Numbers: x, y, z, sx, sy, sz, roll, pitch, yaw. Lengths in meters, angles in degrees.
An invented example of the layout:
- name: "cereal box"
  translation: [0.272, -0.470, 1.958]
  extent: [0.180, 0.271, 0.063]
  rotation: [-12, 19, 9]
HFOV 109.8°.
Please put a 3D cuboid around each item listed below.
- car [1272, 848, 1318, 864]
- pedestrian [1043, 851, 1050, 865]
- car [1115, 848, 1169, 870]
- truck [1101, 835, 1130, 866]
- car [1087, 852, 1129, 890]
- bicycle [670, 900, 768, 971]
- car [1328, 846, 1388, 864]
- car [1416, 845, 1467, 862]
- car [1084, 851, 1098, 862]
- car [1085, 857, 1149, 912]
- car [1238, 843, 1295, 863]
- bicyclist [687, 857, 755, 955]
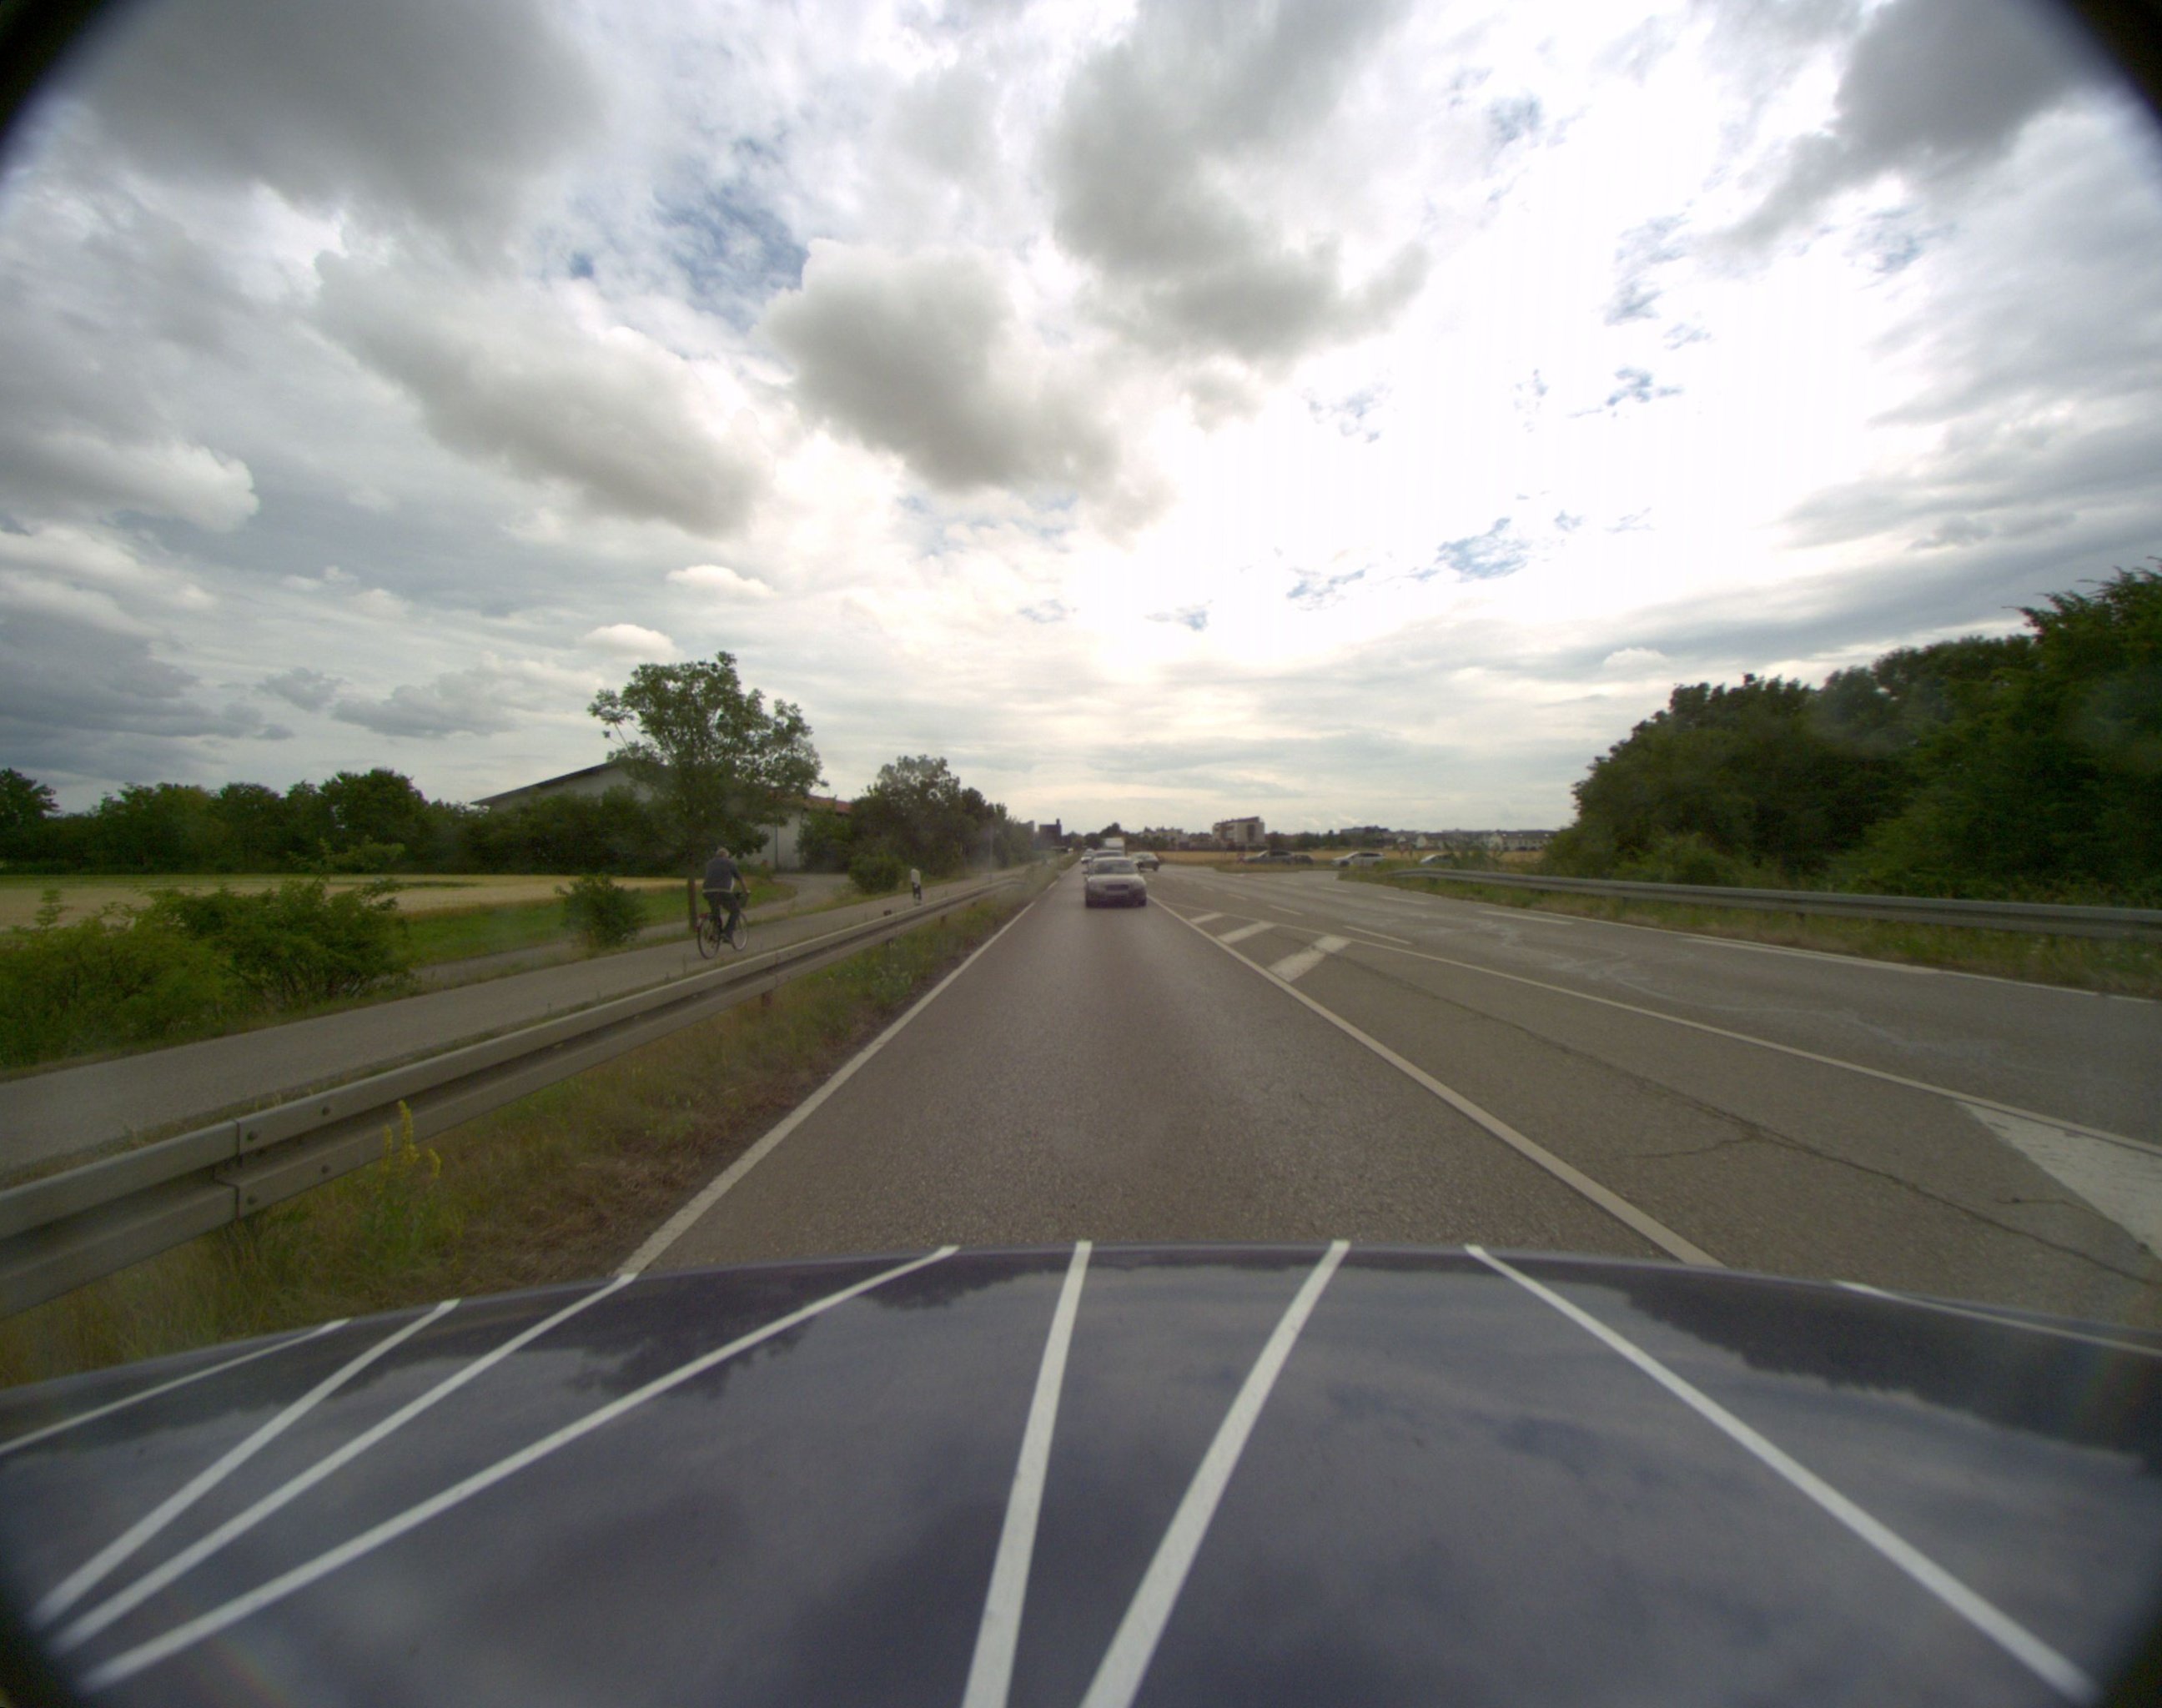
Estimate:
- name: "car"
  translation: [19.884, 0.166, 70.744]
  extent: [3.833, 1.481, 2.001]
  rotation: [-1, 1, 7]
- name: "pedestrian"
  translation: [-3.708, 0.437, 81.754]
  extent: [0.591, 1.512, 0.501]
  rotation: [-2, 1, 7]
- name: "car"
  translation: [4.984, 0.380, 61.408]
  extent: [1.994, 1.600, 5.142]
  rotation: [0, 1, 36]
- name: "truck"
  translation: [4.160, -0.409, 93.290]
  extent: [2.931, 3.541, 7.604]
  rotation: [-2, 1, -1]
- name: "car"
  translation: [1.139, 0.711, 33.711]
  extent: [1.730, 1.534, 4.204]
  rotation: [-1, 0, 0]
- name: "bicycle"
  translation: [-6.073, 1.335, 12.892]
  extent: [0.640, 0.972, 2.072]
  rotation: [-1, 1, 1]
- name: "car"
  translation: [24.499, 0.067, 67.298]
  extent: [4.673, 1.490, 2.001]
  rotation: [-1, 1, 8]
- name: "car"
  translation: [31.612, -0.047, 66.720]
  extent: [3.714, 1.490, 1.731]
  rotation: [-1, 1, 8]
- name: "car"
  translation: [1.342, 0.308, 103.991]
  extent: [1.730, 1.436, 4.204]
  rotation: [-2, 0, 0]
- name: "car"
  translation: [1.001, 0.835, 23.040]
  extent: [1.730, 1.436, 4.204]
  rotation: [-1, 0, 0]
- name: "car"
  translation: [16.699, -0.096, 68.607]
  extent: [4.811, 1.680, 2.001]
  rotation: [-1, 1, 7]
- name: "bicyclist"
  translation: [-6.076, 0.851, 12.865]
  extent: [0.640, 1.573, 0.969]
  rotation: [-1, 1, 1]
